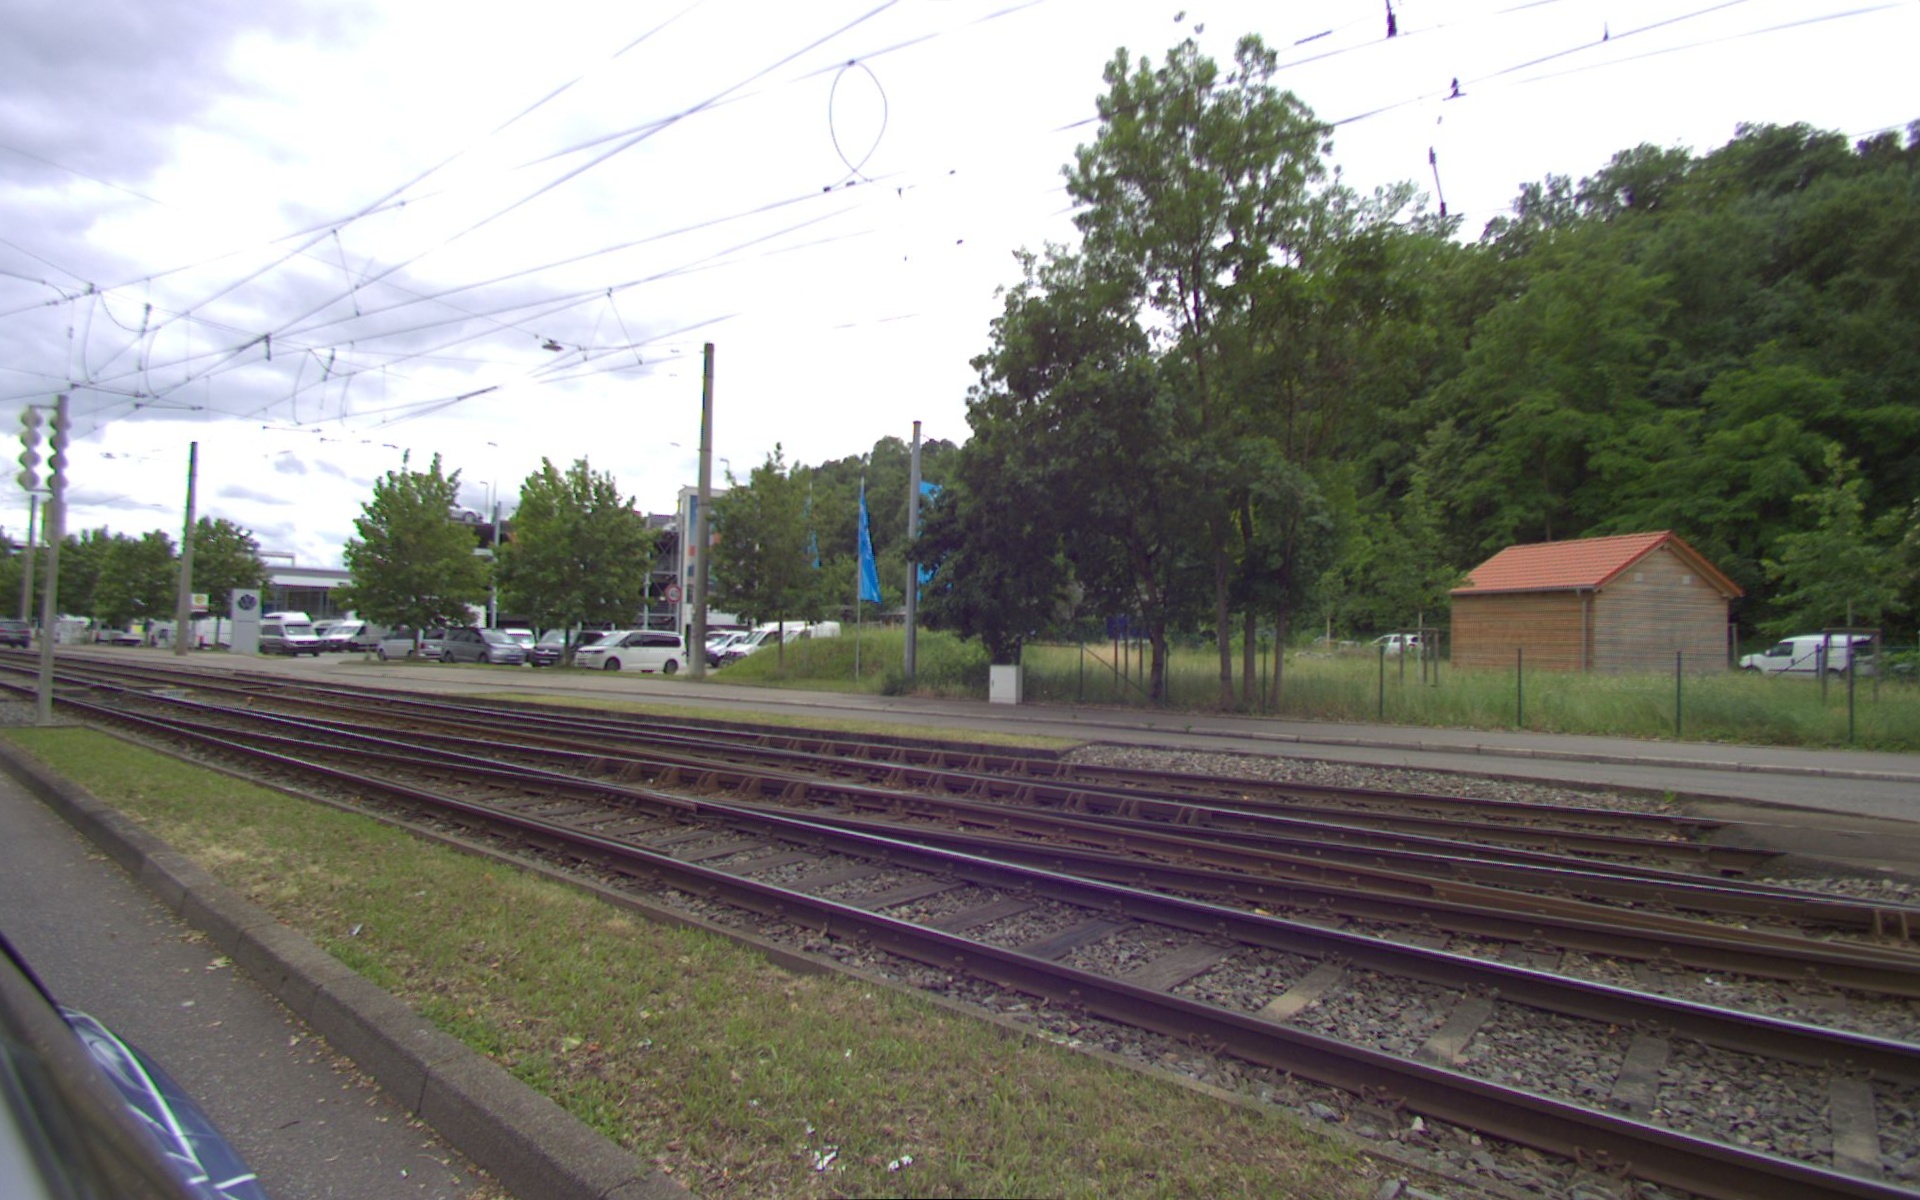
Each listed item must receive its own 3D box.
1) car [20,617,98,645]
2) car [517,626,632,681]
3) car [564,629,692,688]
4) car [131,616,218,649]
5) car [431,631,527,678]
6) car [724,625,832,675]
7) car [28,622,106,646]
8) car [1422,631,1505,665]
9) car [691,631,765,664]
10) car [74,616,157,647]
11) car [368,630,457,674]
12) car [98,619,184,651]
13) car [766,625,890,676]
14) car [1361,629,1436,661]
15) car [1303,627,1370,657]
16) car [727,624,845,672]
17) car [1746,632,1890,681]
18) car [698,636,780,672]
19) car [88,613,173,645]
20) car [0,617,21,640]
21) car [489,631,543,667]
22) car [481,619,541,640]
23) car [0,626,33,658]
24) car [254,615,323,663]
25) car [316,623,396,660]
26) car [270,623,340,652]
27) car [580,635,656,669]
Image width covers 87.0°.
[{"bbox_3d":[-77.113,2.654,86.672,2.102,2.225,4.588,-1,0,33],"label":"car"},{"bbox_3d":[-17.862,2.413,47.077,1.977,2.284,4.716,-1,0,37],"label":"car"},{"bbox_3d":[-14.701,2.525,45.117,1.997,2.284,5.205,-1,0,37],"label":"car"},{"bbox_3d":[-56.659,2.314,73.077,2.102,2.225,4.588,-1,0,33],"label":"car"},{"bbox_3d":[-23.677,2.627,49.772,4.764,2.132,2.118,0,0,34],"label":"car"},{"bbox_3d":[-10.117,2.733,56.447,5.567,2.479,1.986,0,0,-30],"label":"car"},{"bbox_3d":[-75.174,2.823,85.245,2.102,1.854,4.588,-1,0,33],"label":"car"},{"bbox_3d":[26.372,2.484,53.137,1.727,1.625,3.693,0,0,-22],"label":"car"},{"bbox_3d":[-14.723,2.974,64.214,4.164,1.850,1.986,0,0,-30],"label":"car"},{"bbox_3d":[-65.507,2.384,78.579,2.102,2.225,4.588,-1,0,33],"label":"car"},{"bbox_3d":[-28.866,2.683,53.301,4.761,2.132,2.119,0,0,33],"label":"car"},{"bbox_3d":[-61.168,2.601,75.616,2.102,2.225,4.588,-1,0,33],"label":"car"},{"bbox_3d":[-6.531,2.452,50.304,5.762,2.284,2.060,0,0,-27],"label":"car"},{"bbox_3d":[24.703,2.496,57.104,1.727,1.625,3.693,0,0,-25],"label":"car"},{"bbox_3d":[22.720,2.511,61.189,1.727,1.625,3.693,0,0,-25],"label":"car"},{"bbox_3d":[-9.093,2.473,53.101,5.751,2.284,2.060,0,0,-27],"label":"car"},{"bbox_3d":[32.274,2.081,38.195,1.877,1.625,3.693,0,0,-22],"label":"car"},{"bbox_3d":[-12.699,3.069,58.238,4.164,1.850,1.986,0,0,-30],"label":"car"},{"bbox_3d":[-63.138,2.166,77.079,2.102,2.225,4.588,-1,0,33],"label":"car"},{"bbox_3d":[-95.588,2.808,99.423,2.102,2.225,4.588,-1,0,33],"label":"car"},{"bbox_3d":[-26.286,2.875,59.891,1.872,1.907,4.606,0,0,-38],"label":"car"},{"bbox_3d":[-43.327,2.832,97.577,5.138,1.850,1.986,0,0,-28],"label":"car"},{"bbox_3d":[-56.897,2.412,59.978,4.128,1.731,1.883,1,-6,36],"label":"car"},{"bbox_3d":[-44.899,2.519,67.623,6.154,3.034,2.290,-1,0,41],"label":"car"},{"bbox_3d":[-48.108,3.275,80.752,2.293,2.642,6.036,0,0,7],"label":"car"},{"bbox_3d":[-55.263,3.126,85.406,2.107,2.225,4.578,-1,0,40],"label":"car"},{"bbox_3d":[-21.179,3.176,62.659,4.164,1.850,1.986,0,0,-30],"label":"car"}]
